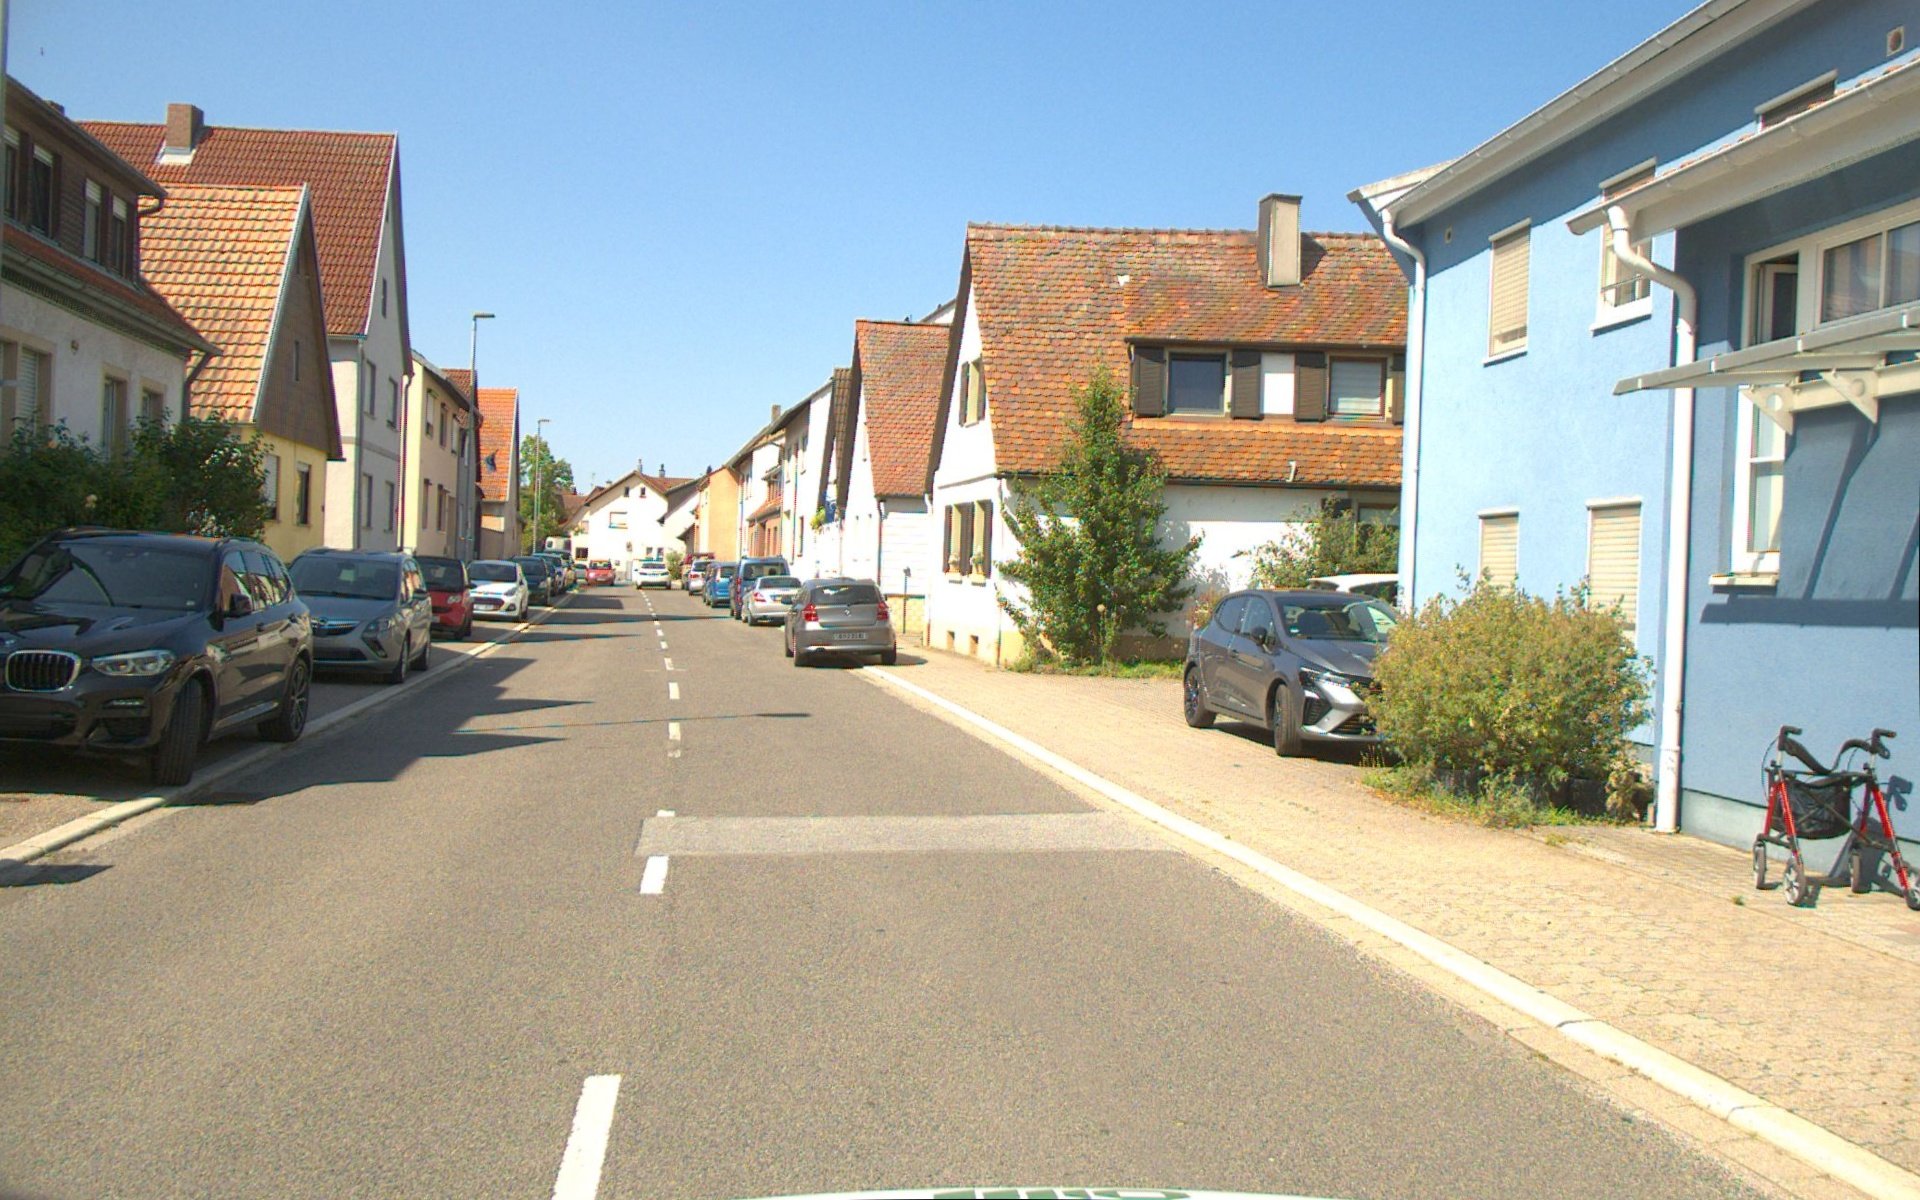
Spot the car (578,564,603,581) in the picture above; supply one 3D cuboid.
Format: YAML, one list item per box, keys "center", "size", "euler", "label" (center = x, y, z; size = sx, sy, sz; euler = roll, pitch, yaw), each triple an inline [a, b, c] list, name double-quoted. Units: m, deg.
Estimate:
- center: [-31.349, -2.335, 140.517]
  size: [1.958, 1.310, 3.793]
  euler: [1, 0, -12]
  label: "car"

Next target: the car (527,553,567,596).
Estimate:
- center: [-18.014, -1.117, 72.184]
  size: [1.500, 1.743, 3.615]
  euler: [3, 0, -12]
  label: "car"

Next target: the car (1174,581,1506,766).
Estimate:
- center: [3.376, 0.591, 15.538]
  size: [1.658, 1.444, 4.138]
  euler: [2, 0, -8]
  label: "car"

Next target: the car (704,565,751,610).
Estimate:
- center: [-8.497, -0.458, 60.337]
  size: [1.395, 1.541, 3.294]
  euler: [3, 0, -12]
  label: "car"

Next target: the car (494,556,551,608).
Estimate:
- center: [-14.801, -0.617, 56.084]
  size: [1.591, 1.605, 3.950]
  euler: [3, 0, -12]
  label: "car"

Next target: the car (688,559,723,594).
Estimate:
- center: [-11.941, -1.094, 77.506]
  size: [1.395, 1.541, 3.294]
  euler: [3, 0, -12]
  label: "car"

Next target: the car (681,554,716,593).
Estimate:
- center: [-14.339, -1.417, 90.536]
  size: [1.735, 2.039, 3.441]
  euler: [1, 0, -11]
  label: "car"

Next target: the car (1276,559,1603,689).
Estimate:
- center: [6.768, 0.329, 23.595]
  size: [4.093, 1.686, 1.810]
  euler: [1, 0, -6]
  label: "car"

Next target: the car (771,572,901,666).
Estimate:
- center: [-2.177, 0.274, 28.195]
  size: [1.675, 1.458, 3.878]
  euler: [2, 1, -12]
  label: "car"

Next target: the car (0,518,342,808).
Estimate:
- center: [-6.133, 0.337, 12.252]
  size: [1.885, 1.696, 4.656]
  euler: [4, 0, -9]
  label: "car"

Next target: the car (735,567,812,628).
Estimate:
- center: [-5.083, -0.092, 44.726]
  size: [1.675, 1.522, 3.442]
  euler: [3, 0, -12]
  label: "car"

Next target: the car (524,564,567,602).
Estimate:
- center: [-16.903, -0.688, 67.591]
  size: [1.477, 1.478, 3.499]
  euler: [1, 0, -11]
  label: "car"

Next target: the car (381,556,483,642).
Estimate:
- center: [-10.587, -0.035, 33.323]
  size: [1.524, 1.571, 2.980]
  euler: [3, 0, -11]
  label: "car"

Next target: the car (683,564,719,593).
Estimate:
- center: [-13.435, -1.101, 85.613]
  size: [1.735, 1.458, 3.441]
  euler: [1, 0, -11]
  label: "car"

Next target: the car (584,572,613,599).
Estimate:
- center: [-21.270, -0.866, 97.349]
  size: [1.573, 1.515, 3.615]
  euler: [3, 0, -12]
  label: "car"

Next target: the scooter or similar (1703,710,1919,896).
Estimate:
- center: [4.344, 1.009, 8.414]
  size: [0.713, 0.829, 0.827]
  euler: [1, 0, -4]
  label: "scooter or similar"

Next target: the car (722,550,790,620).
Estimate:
- center: [-6.140, -0.464, 49.527]
  size: [1.620, 1.943, 3.615]
  euler: [3, 0, -12]
  label: "car"

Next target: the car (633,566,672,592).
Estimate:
- center: [-16.661, -1.113, 89.533]
  size: [1.958, 1.310, 3.989]
  euler: [1, 0, -12]
  label: "car"

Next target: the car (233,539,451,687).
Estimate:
- center: [-8.025, 0.130, 21.905]
  size: [1.839, 1.665, 4.652]
  euler: [3, 0, -10]
  label: "car"

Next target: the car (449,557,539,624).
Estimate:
- center: [-12.123, -0.255, 43.230]
  size: [1.773, 1.574, 4.393]
  euler: [3, 0, -10]
  label: "car"
